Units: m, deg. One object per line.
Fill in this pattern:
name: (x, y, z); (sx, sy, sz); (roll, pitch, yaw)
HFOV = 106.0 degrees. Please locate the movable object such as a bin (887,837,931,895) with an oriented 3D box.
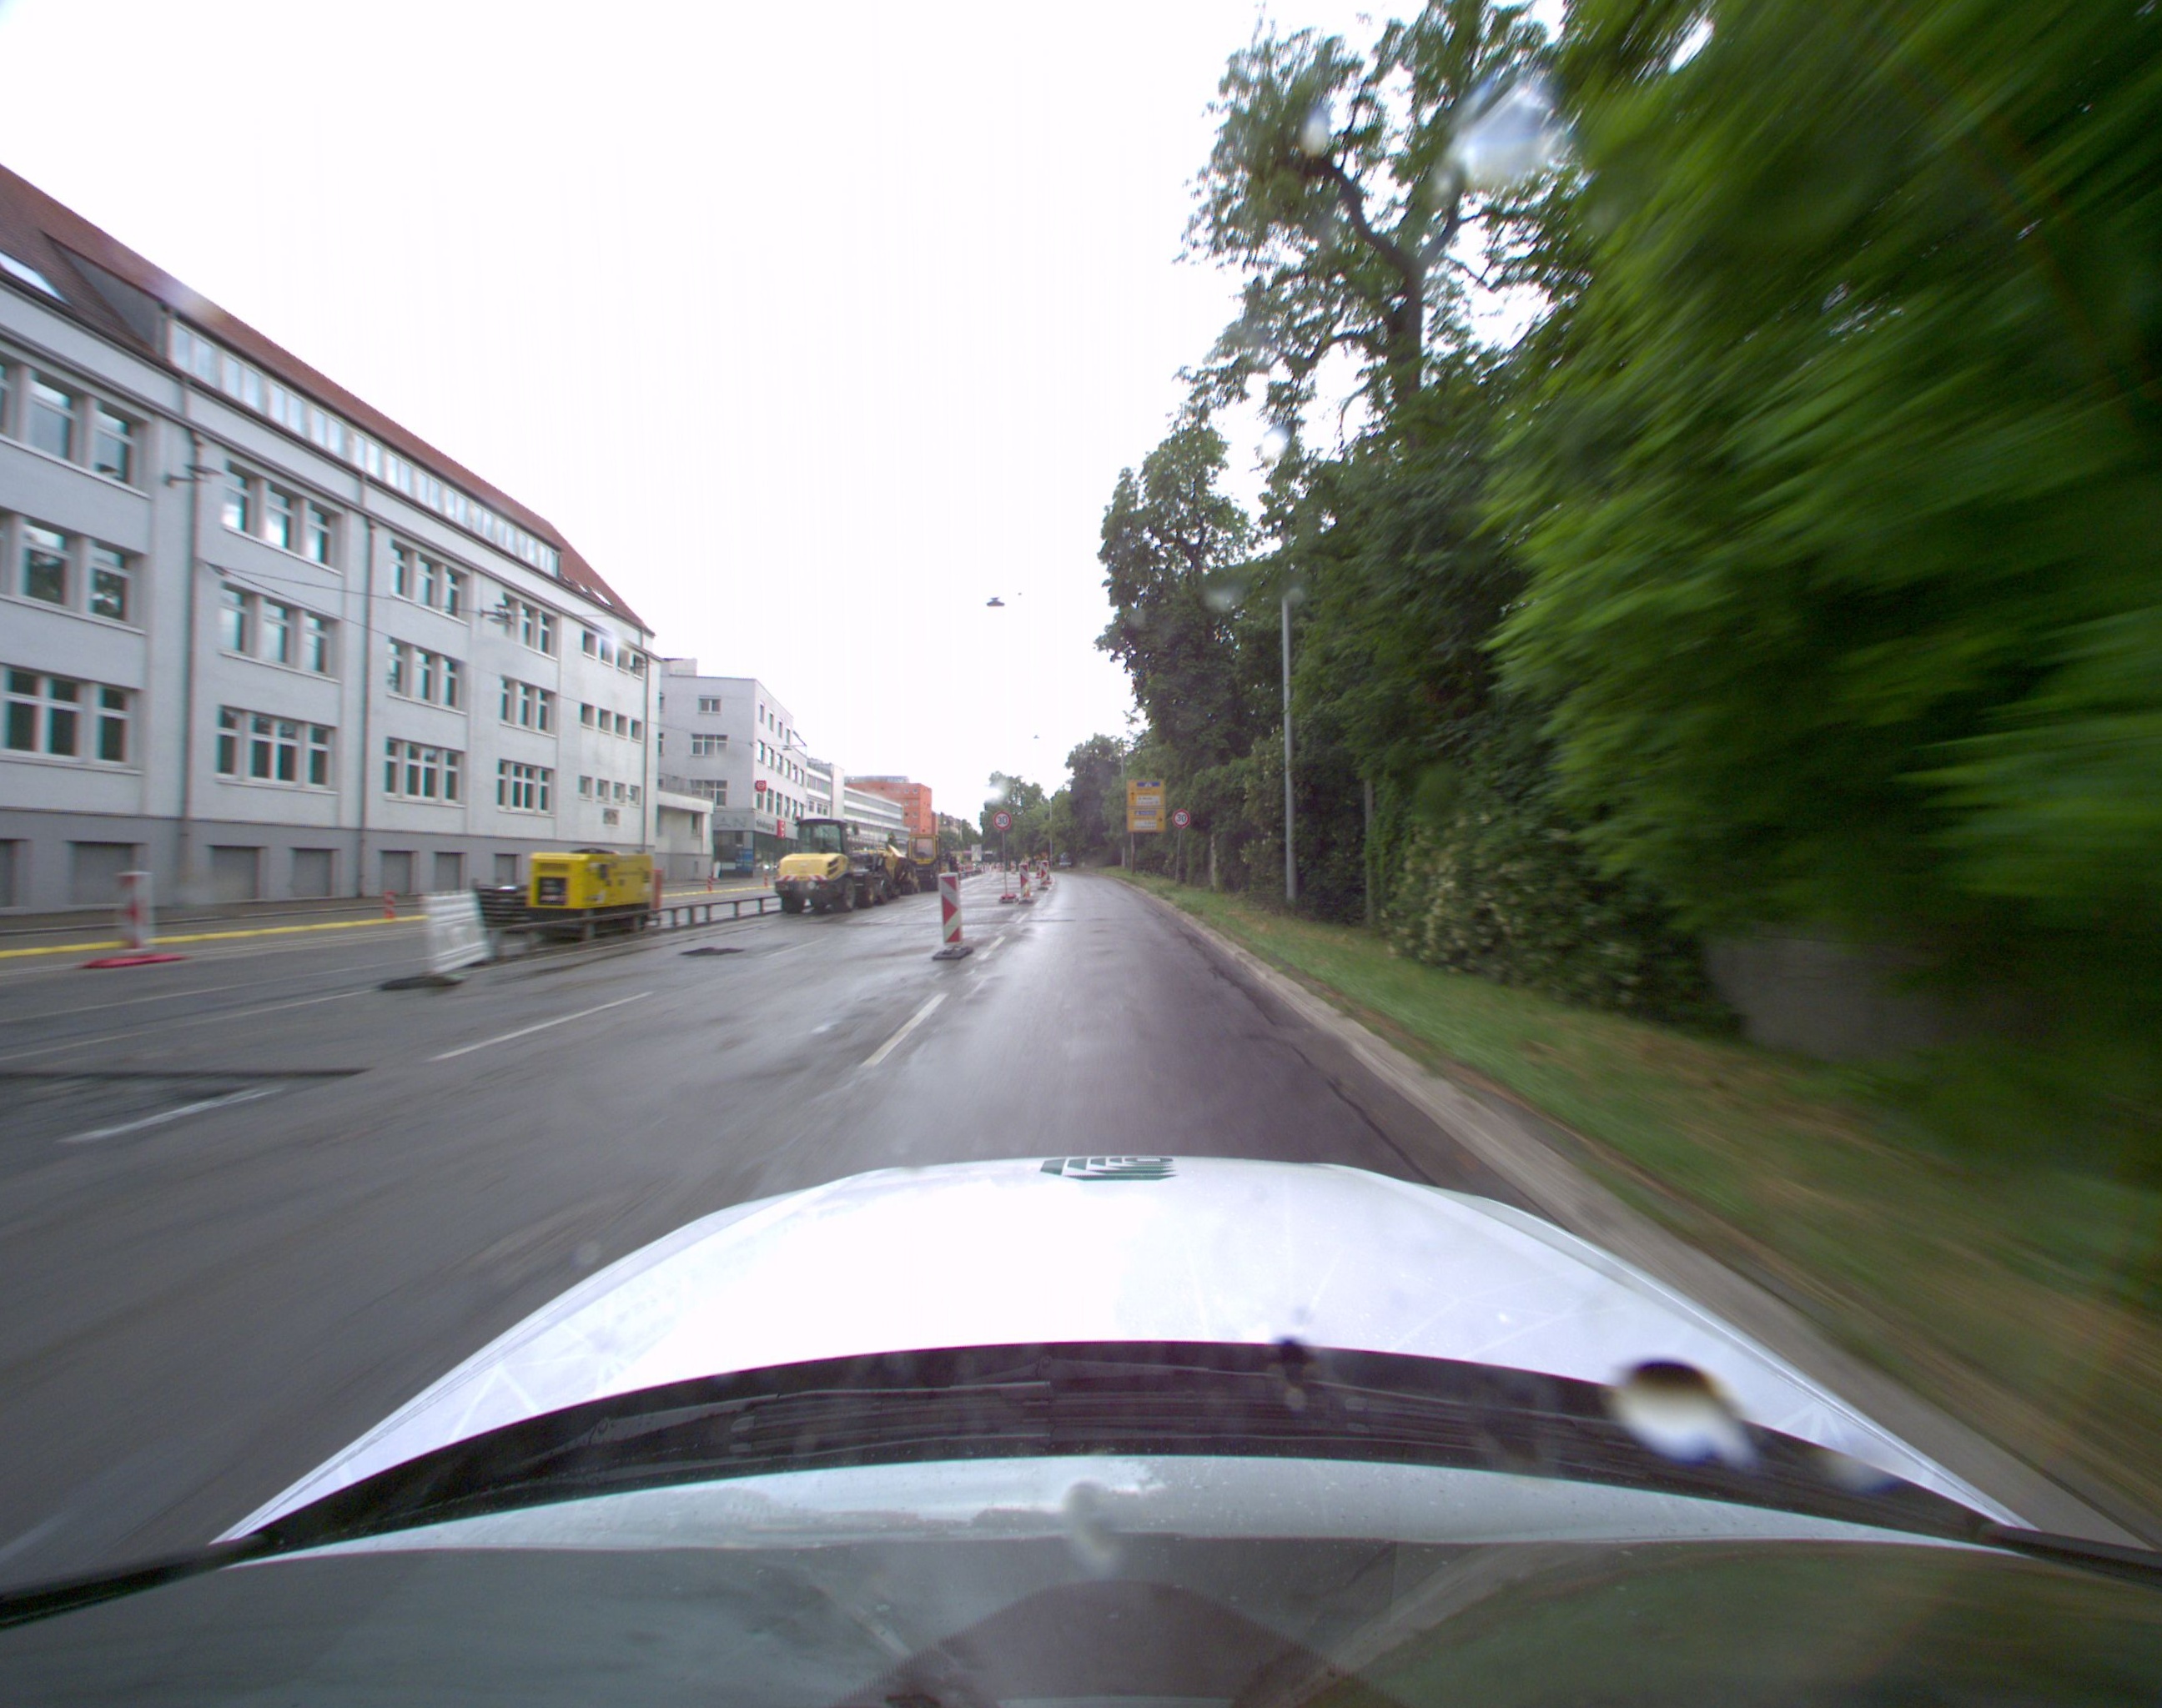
movable object such as a bin: (-7.414, 0.511, 35.265); (1.407, 2.401, 2.404); (-2, -1, -2)

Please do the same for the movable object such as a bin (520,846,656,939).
movable object such as a bin: (-9.366, 0.685, 15.644); (1.079, 1.644, 2.439); (0, -1, 1)

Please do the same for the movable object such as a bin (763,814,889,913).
movable object such as a bin: (-7.372, 0.256, 24.195); (1.895, 2.609, 5.384); (0, 0, 1)

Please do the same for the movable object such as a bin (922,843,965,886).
movable object such as a bin: (-7.226, 0.551, 43.126); (1.711, 2.150, 3.347); (-2, 0, -2)

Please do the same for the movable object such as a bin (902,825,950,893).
movable object such as a bin: (-7.311, 0.248, 38.703); (1.461, 3.008, 3.723); (-2, 0, 0)

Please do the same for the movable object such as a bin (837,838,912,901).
movable object such as a bin: (-7.428, 0.543, 29.756); (1.357, 2.090, 5.031); (0, 0, 1)
